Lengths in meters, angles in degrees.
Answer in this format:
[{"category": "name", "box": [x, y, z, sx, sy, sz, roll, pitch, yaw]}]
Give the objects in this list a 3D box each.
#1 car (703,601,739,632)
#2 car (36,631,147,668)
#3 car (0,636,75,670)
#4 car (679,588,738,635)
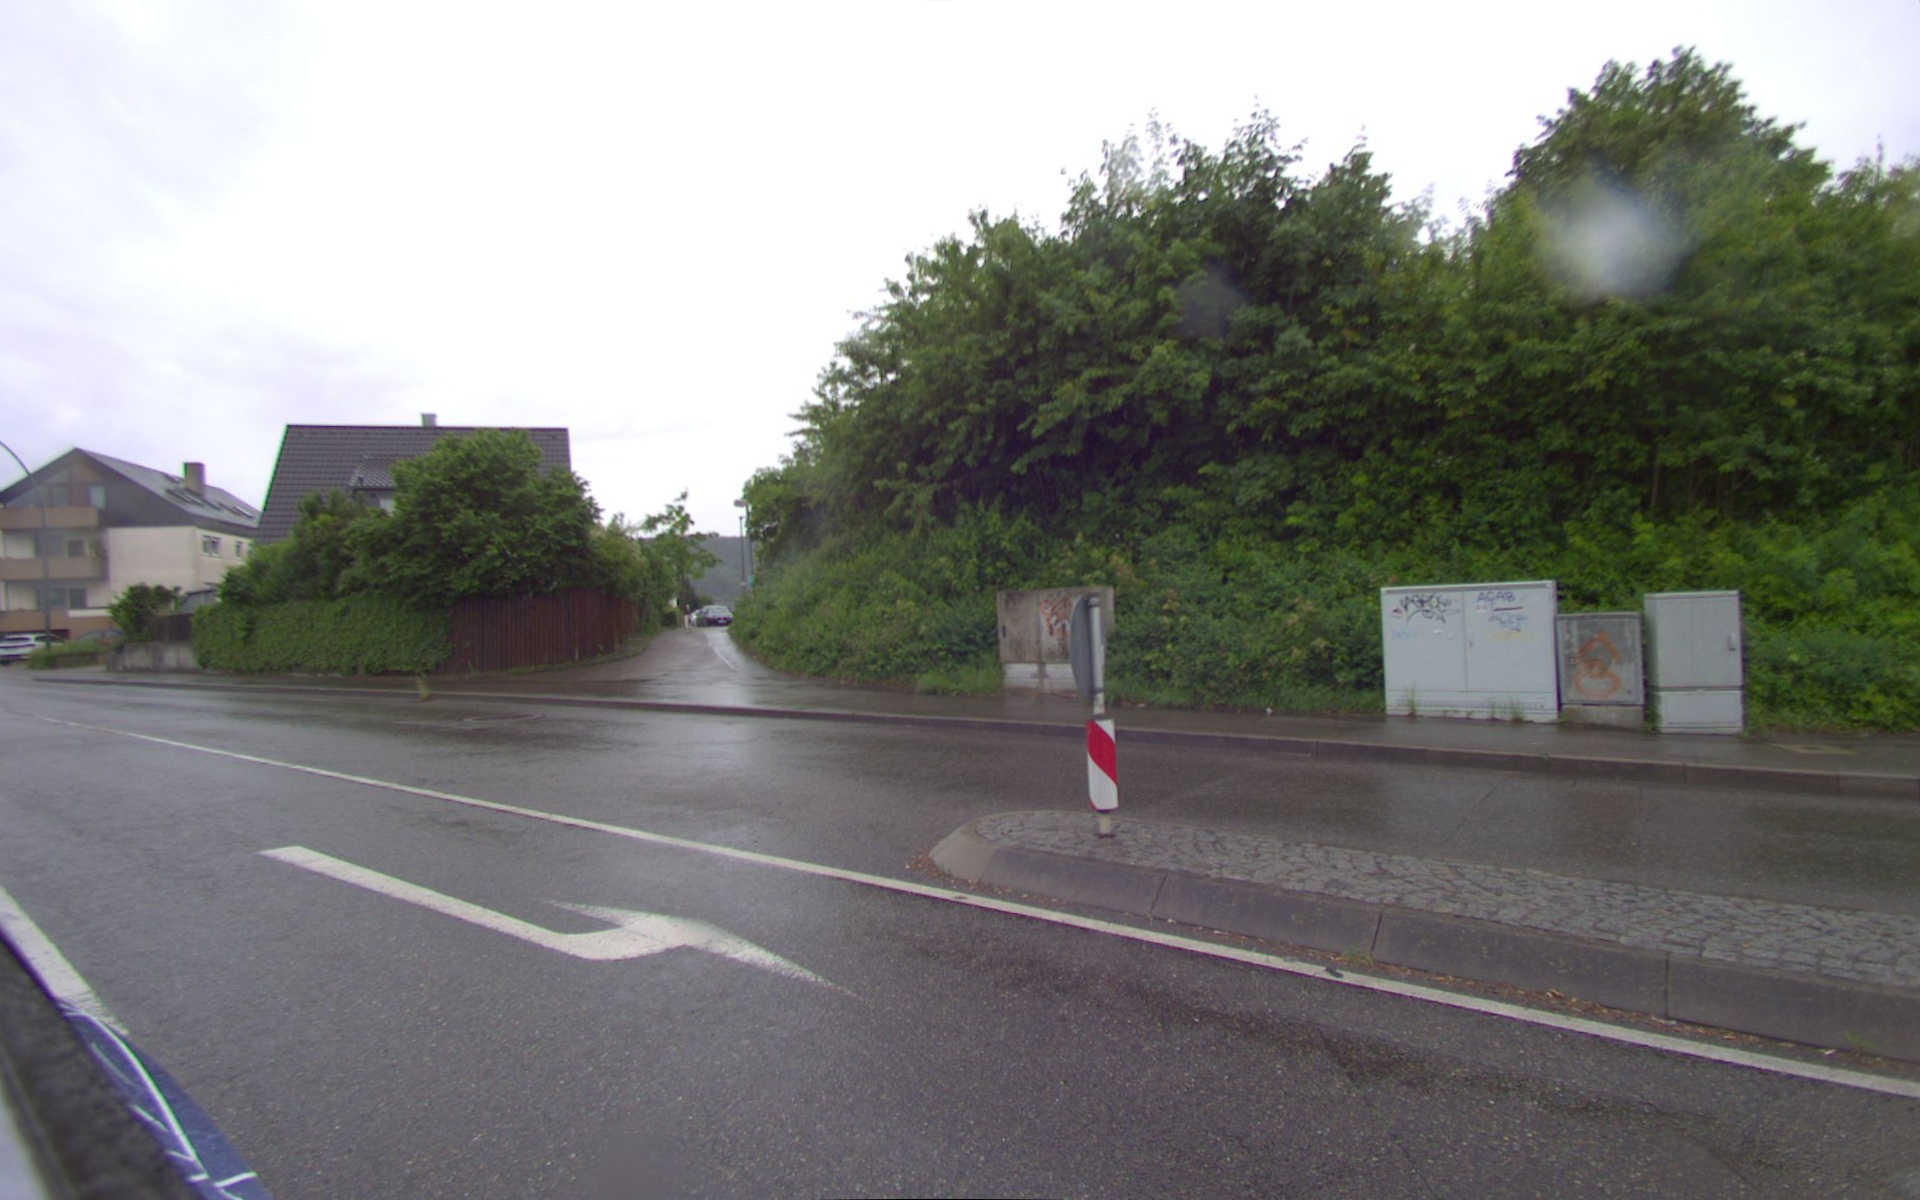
[{"category": "car", "box": [-15.578, 1.061, 66.157, 1.968, 1.873, 4.008, -2, 0, -9]}, {"category": "car", "box": [-41.491, 2.346, 48.423, 3.609, 1.530, 1.759, -2, 0, -15]}, {"category": "car", "box": [-46.797, 2.634, 51.023, 1.837, 1.530, 4.012, -2, 0, -18]}, {"category": "car", "box": [-9.162, 0.408, 37.038, 1.683, 1.600, 3.668, -1, 0, -8]}]
